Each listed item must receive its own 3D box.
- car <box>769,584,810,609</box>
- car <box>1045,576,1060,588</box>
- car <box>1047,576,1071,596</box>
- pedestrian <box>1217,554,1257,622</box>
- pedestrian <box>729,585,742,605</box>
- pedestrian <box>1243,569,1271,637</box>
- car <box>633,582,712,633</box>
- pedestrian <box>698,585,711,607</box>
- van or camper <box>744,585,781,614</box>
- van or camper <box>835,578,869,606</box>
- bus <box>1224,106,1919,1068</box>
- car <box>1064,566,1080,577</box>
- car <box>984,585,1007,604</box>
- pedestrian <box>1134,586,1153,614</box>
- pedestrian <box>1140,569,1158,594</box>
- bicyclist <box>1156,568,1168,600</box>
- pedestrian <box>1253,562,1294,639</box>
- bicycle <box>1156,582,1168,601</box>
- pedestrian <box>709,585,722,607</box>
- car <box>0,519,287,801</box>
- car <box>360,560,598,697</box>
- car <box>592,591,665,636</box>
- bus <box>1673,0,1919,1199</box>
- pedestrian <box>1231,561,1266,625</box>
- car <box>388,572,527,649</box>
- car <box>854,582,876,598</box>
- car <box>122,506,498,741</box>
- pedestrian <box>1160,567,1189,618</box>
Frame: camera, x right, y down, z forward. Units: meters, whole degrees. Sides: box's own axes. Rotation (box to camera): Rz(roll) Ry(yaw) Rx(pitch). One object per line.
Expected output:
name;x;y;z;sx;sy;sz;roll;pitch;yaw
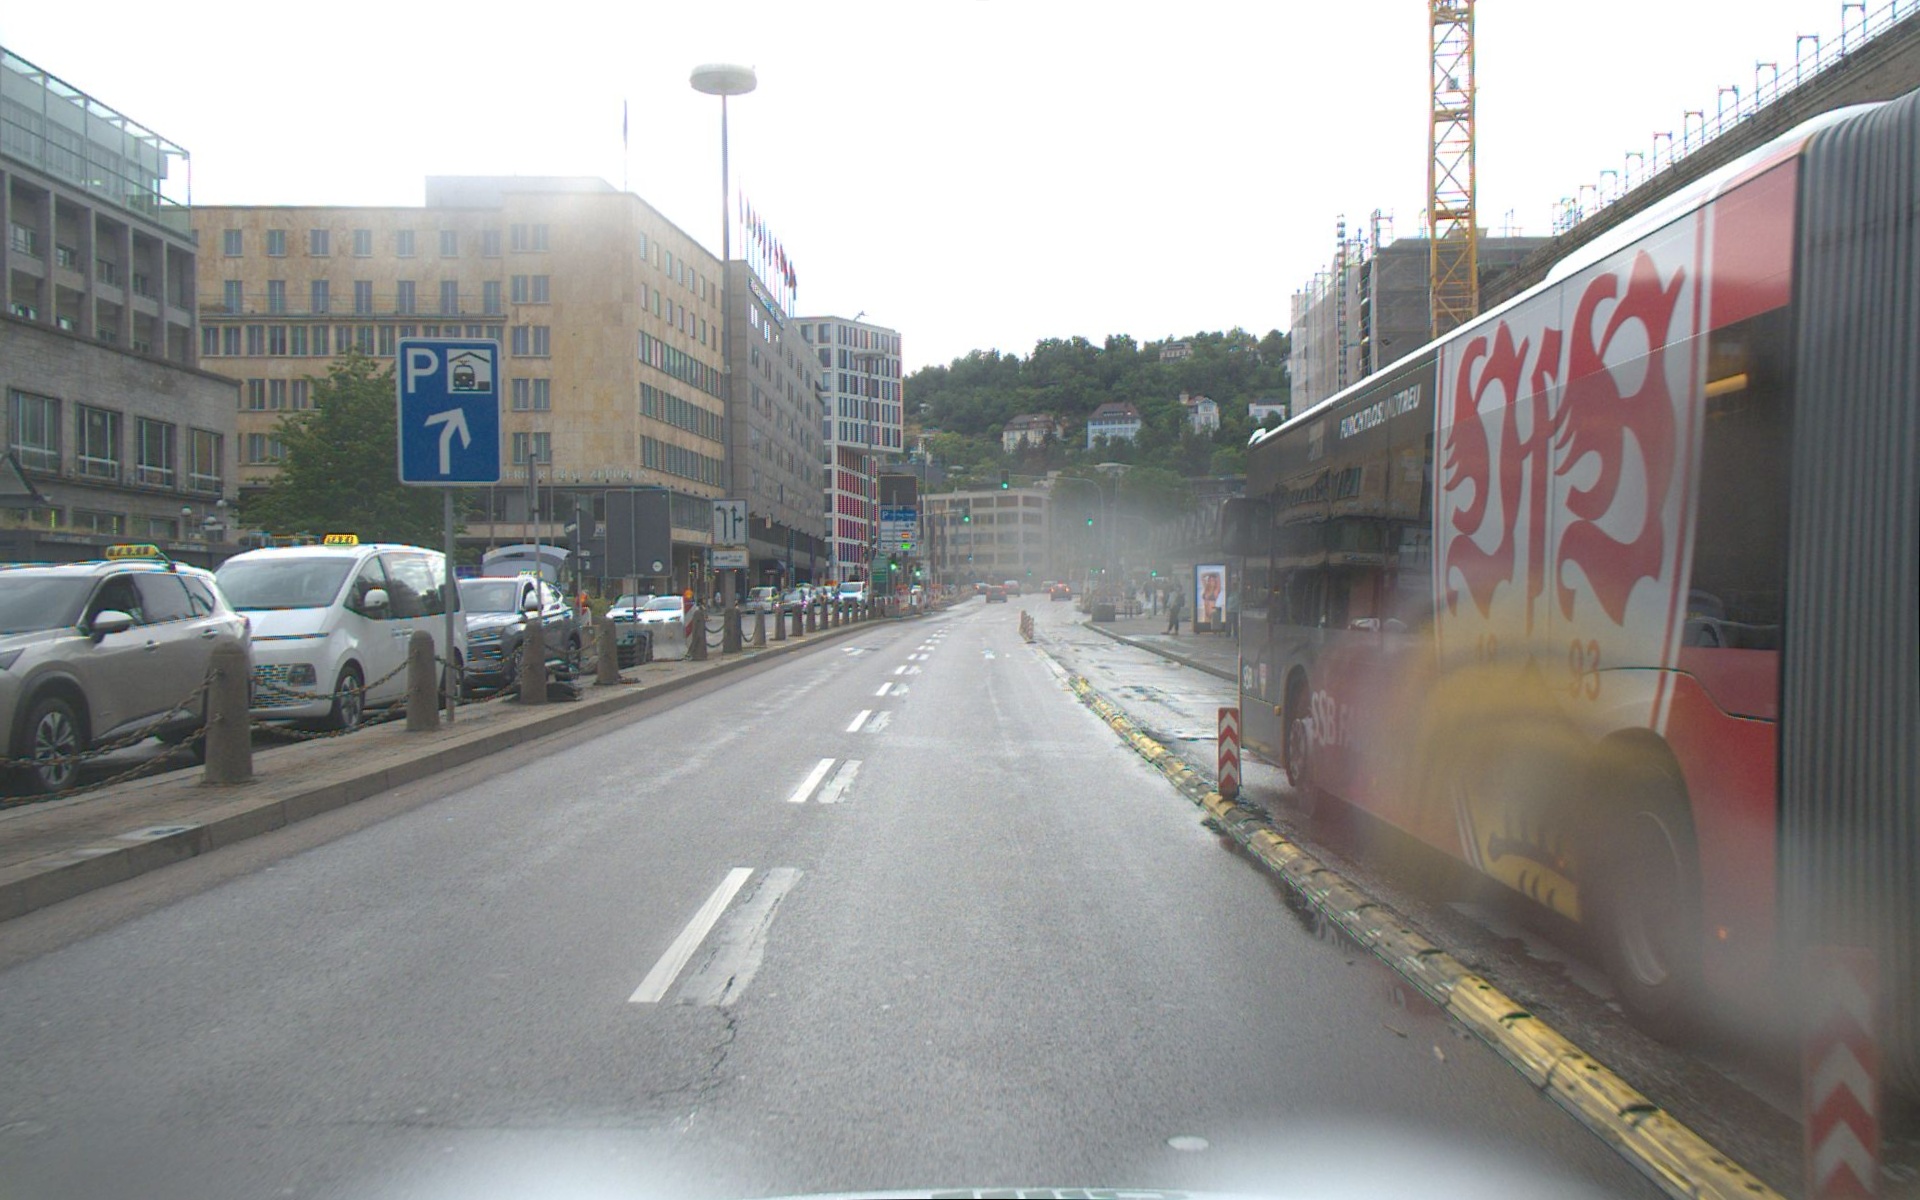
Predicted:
car;-11.434;-0.248;111.039;1.952;1.645;4.980;-1;0;3
car;11.445;-2.268;204.897;1.782;1.467;4.001;1;1;1
car;8.823;-1.288;148.113;1.952;1.735;4.001;-1;0;1
pedestrian;8.669;-0.381;51.805;0.797;2.086;0.913;0;0;-40
pedestrian;-17.653;-0.360;129.999;0.778;1.553;0.917;-1;0;4
pedestrian;7.080;0.071;39.472;0.510;1.593;0.729;-1;0;0
car;-10.148;0.228;58.698;1.922;1.591;4.835;-3;1;0
pedestrian;-18.267;-0.267;118.227;0.706;1.584;0.906;-1;0;4
van or camper;-14.528;-0.036;121.648;1.952;2.049;4.967;0;1;2
van or camper;-8.042;-0.596;123.764;1.952;2.049;5.191;0;0;3
bus;3.667;-0.042;9.895;2.699;3.119;8.992;1;0;0
car;15.104;-3.801;223.315;1.952;1.467;4.001;1;1;1
car;3.136;-0.478;146.231;1.952;1.579;4.000;-1;0;0
pedestrian;10.493;0.000;94.740;0.780;1.636;0.834;-1;0;31
pedestrian;13.893;-1.363;121.536;0.929;1.873;0.944;-1;0;33
bicyclist;11.935;-0.937;97.530;0.688;1.877;0.968;0;0;7
pedestrian;7.128;0.011;37.646;0.747;1.723;0.822;-1;0;0
bicycle;11.932;-0.505;97.554;0.692;1.068;1.808;0;1;7
pedestrian;-17.505;-0.288;118.259;0.706;1.584;0.895;-1;0;4
car;-7.184;0.411;12.929;1.890;1.837;4.582;-2;0;0
car;-6.778;0.344;23.902;1.952;1.752;4.783;-1;1;1
car;-13.378;0.509;66.990;1.922;1.591;4.835;-3;1;0
bus;3.683;0.009;0.837;2.699;3.122;9.079;1;0;0
pedestrian;7.709;-0.183;44.216;0.791;1.689;0.804;1;0;0
car;-10.910;0.207;36.187;1.954;1.579;3.998;-1;0;-3
car;-9.456;-1.003;164.344;1.731;1.637;4.228;0;1;3
car;-6.977;0.197;18.560;1.952;2.216;5.545;-1;1;1
pedestrian;7.274;-0.251;56.109;0.693;1.709;0.717;-1;0;-26
